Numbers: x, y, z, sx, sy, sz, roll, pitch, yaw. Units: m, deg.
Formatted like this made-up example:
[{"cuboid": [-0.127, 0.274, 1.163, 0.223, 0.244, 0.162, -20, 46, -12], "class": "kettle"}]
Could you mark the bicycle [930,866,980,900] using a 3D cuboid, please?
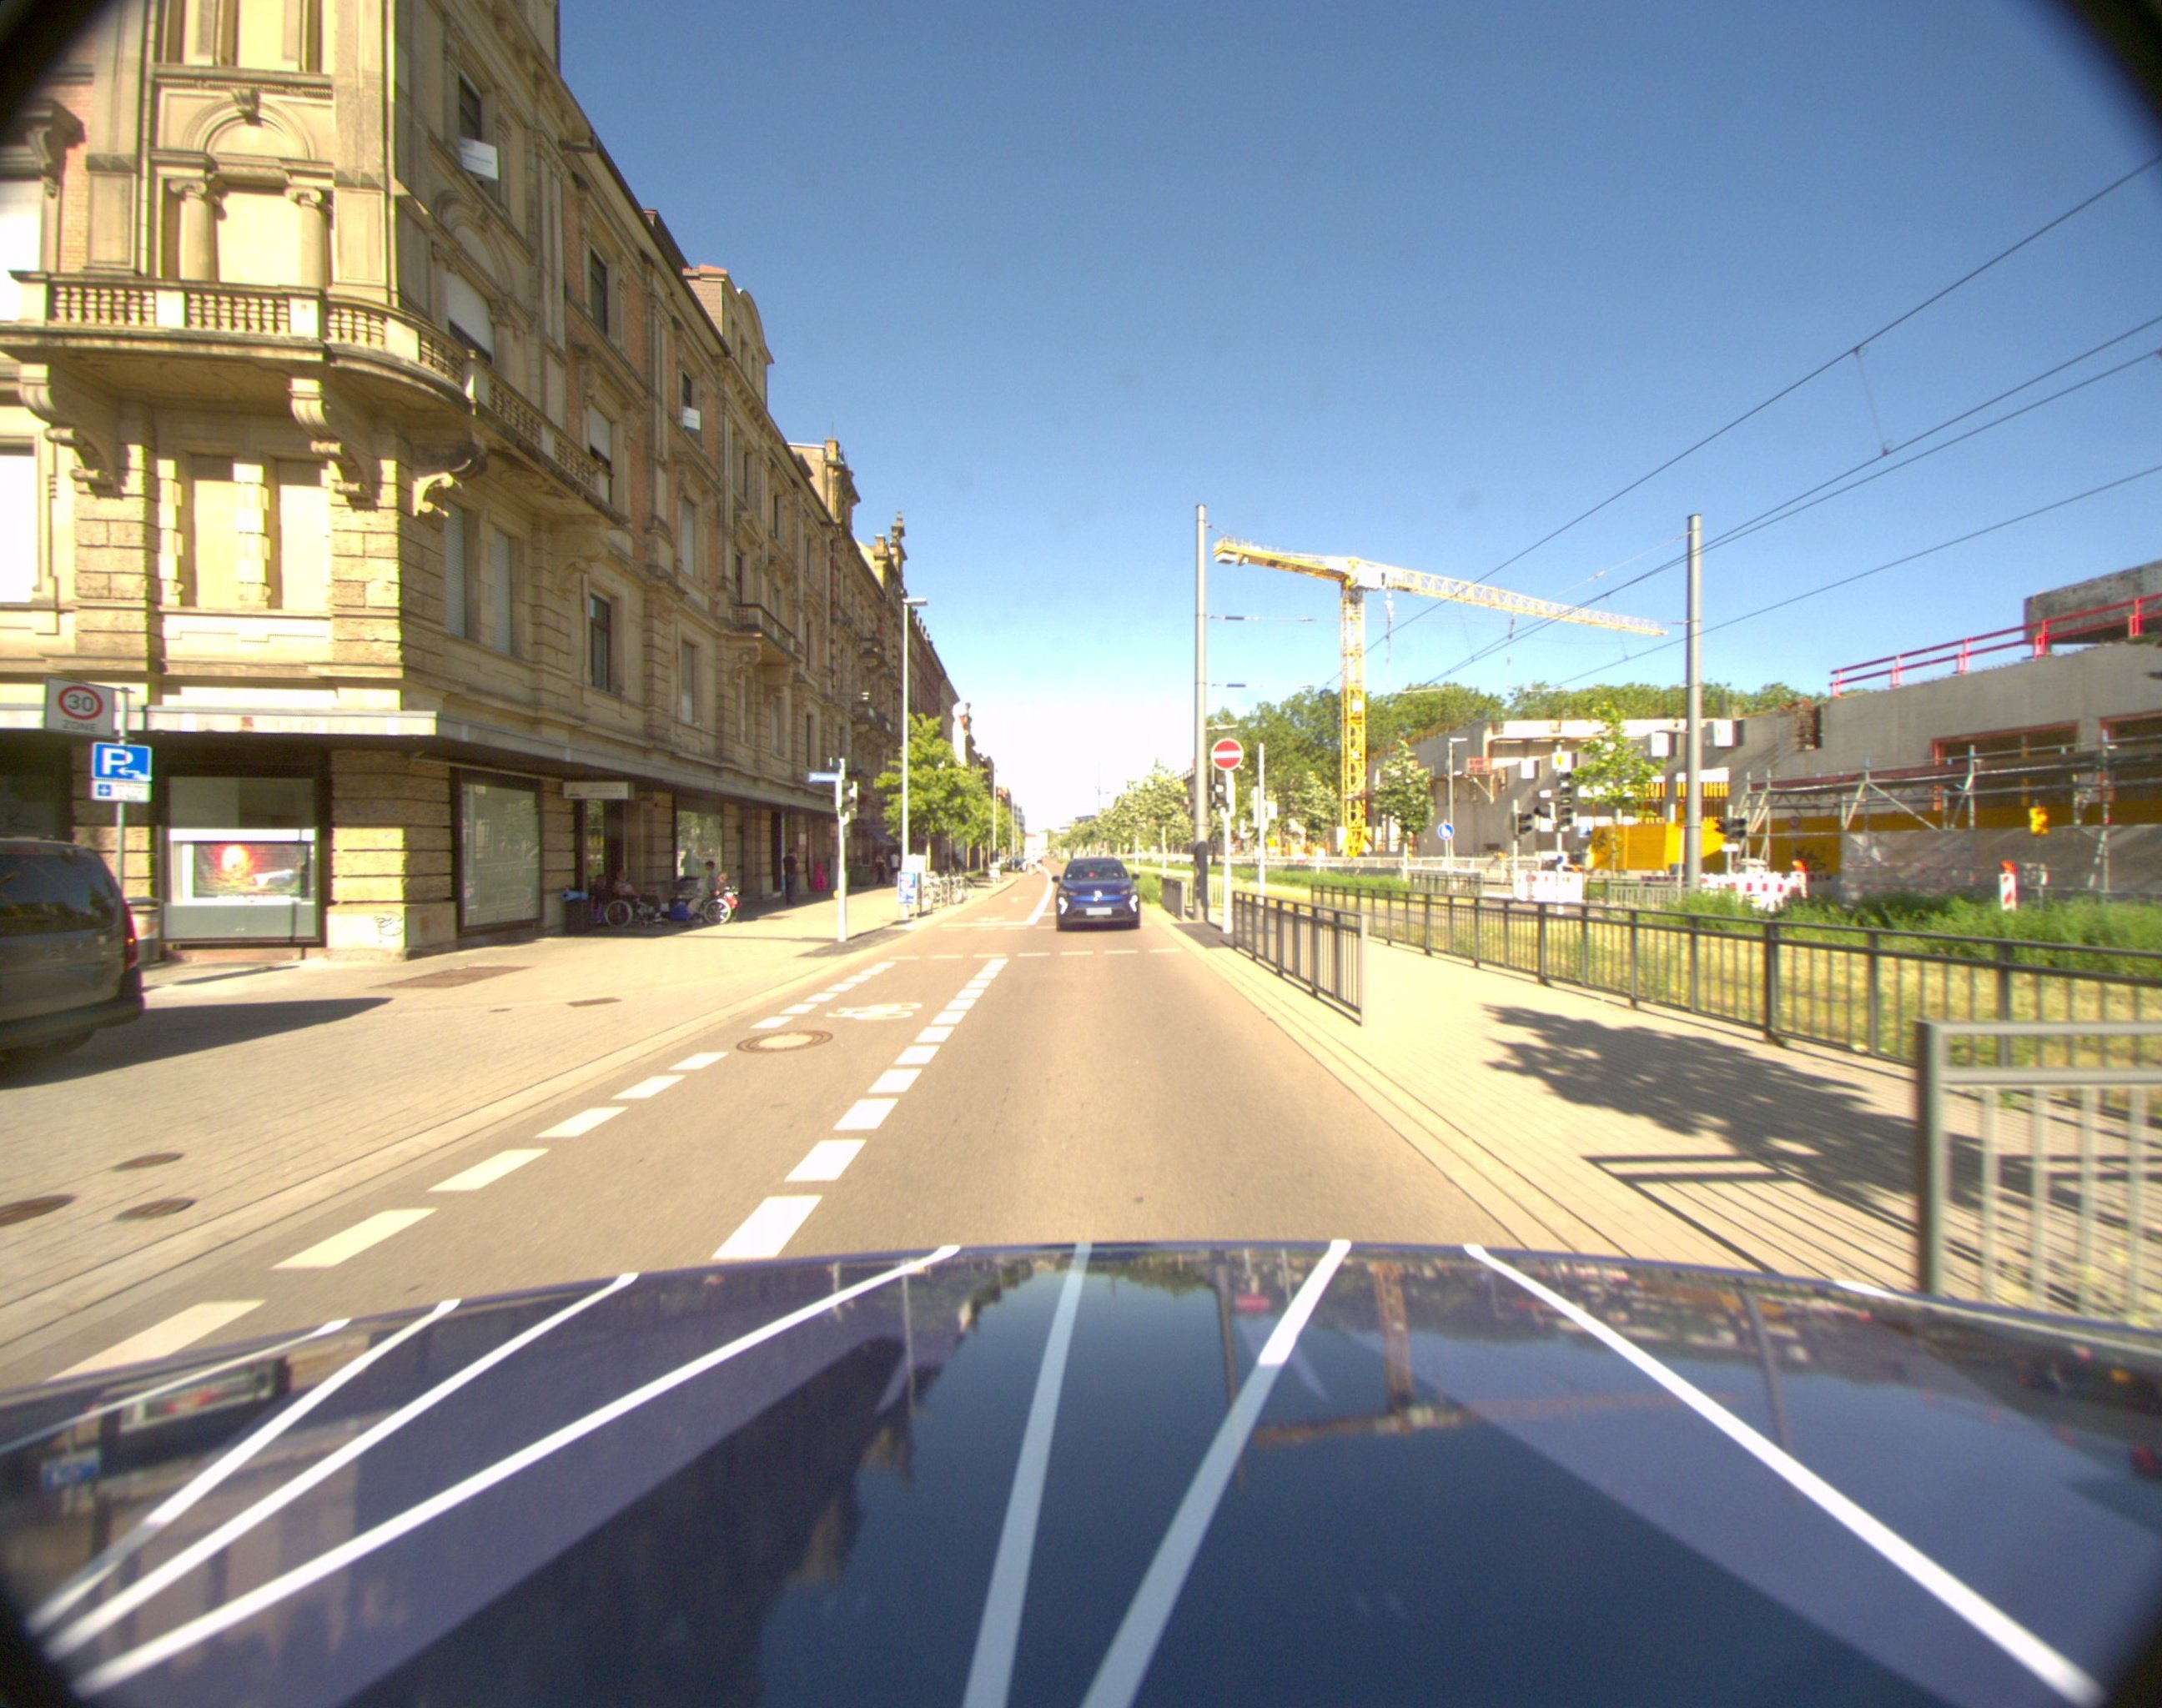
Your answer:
[{"cuboid": [-4.962, 1.131, 30.001, 1.869, 1.244, 0.692, 2, 1, -3], "class": "bicycle"}]

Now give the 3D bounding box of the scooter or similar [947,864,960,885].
[{"cuboid": [-7.190, 1.154, 42.951, 0.637, 1.166, 0.290, 0, 1, 21], "class": "scooter or similar"}]

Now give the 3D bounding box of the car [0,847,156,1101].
[{"cuboid": [-9.502, 0.853, 4.896, 4.170, 1.742, 1.815, -1, -1, -18], "class": "car"}]

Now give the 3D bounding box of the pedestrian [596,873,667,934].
[{"cuboid": [-9.539, 1.035, 16.145, 1.075, 1.211, 0.702, 1, 1, -2], "class": "pedestrian"}]

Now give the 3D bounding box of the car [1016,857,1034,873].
[{"cuboid": [-5.948, 1.122, 80.719, 1.670, 1.574, 3.748, -3, 1, -1], "class": "car"}]

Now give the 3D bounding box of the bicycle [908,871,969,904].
[{"cuboid": [-5.044, 1.175, 26.977, 2.055, 1.113, 0.603, 1, 1, -2], "class": "bicycle"}]

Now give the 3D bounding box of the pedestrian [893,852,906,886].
[{"cuboid": [-9.873, 0.803, 41.334, 0.512, 1.839, 0.501, -1, 0, 6], "class": "pedestrian"}]

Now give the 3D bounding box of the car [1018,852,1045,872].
[{"cuboid": [-4.813, 0.770, 74.397, 1.821, 1.783, 4.002, -3, 1, 7], "class": "car"}]

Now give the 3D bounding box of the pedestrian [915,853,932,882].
[{"cuboid": [-8.549, 0.735, 41.222, 0.753, 1.575, 0.808, 1, 0, -1], "class": "pedestrian"}]

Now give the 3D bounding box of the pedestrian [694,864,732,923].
[{"cuboid": [-8.829, 0.936, 18.243, 0.574, 1.386, 0.648, 1, 1, -3], "class": "pedestrian"}]

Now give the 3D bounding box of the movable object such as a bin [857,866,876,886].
[{"cuboid": [-10.694, 1.101, 37.896, 0.692, 0.969, 0.587, -1, 1, 3], "class": "movable object such as a bin"}]

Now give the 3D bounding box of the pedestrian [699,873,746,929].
[{"cuboid": [-8.221, 1.068, 17.450, 0.718, 1.211, 0.647, 2, 1, 4], "class": "pedestrian"}]

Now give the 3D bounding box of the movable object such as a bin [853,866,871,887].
[{"cuboid": [-10.743, 1.084, 37.264, 0.692, 1.007, 0.587, 1, 1, 3], "class": "movable object such as a bin"}]

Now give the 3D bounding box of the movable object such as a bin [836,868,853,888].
[{"cuboid": [-10.797, 1.098, 34.709, 0.606, 0.861, 0.476, 1, 1, 3], "class": "movable object such as a bin"}]

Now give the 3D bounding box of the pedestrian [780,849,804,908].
[{"cuboid": [-9.011, 0.757, 23.691, 0.512, 1.791, 0.501, -1, 0, 6], "class": "pedestrian"}]

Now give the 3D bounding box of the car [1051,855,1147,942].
[{"cuboid": [0.510, 0.856, 16.426, 1.748, 1.613, 4.154, -1, 0, 5], "class": "car"}]

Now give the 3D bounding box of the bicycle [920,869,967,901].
[{"cuboid": [-5.112, 1.160, 28.342, 1.668, 1.104, 0.602, 2, 1, -10], "class": "bicycle"}]

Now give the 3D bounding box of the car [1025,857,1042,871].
[{"cuboid": [-5.423, 1.090, 86.747, 1.670, 1.453, 3.748, -3, 1, -1], "class": "car"}]
